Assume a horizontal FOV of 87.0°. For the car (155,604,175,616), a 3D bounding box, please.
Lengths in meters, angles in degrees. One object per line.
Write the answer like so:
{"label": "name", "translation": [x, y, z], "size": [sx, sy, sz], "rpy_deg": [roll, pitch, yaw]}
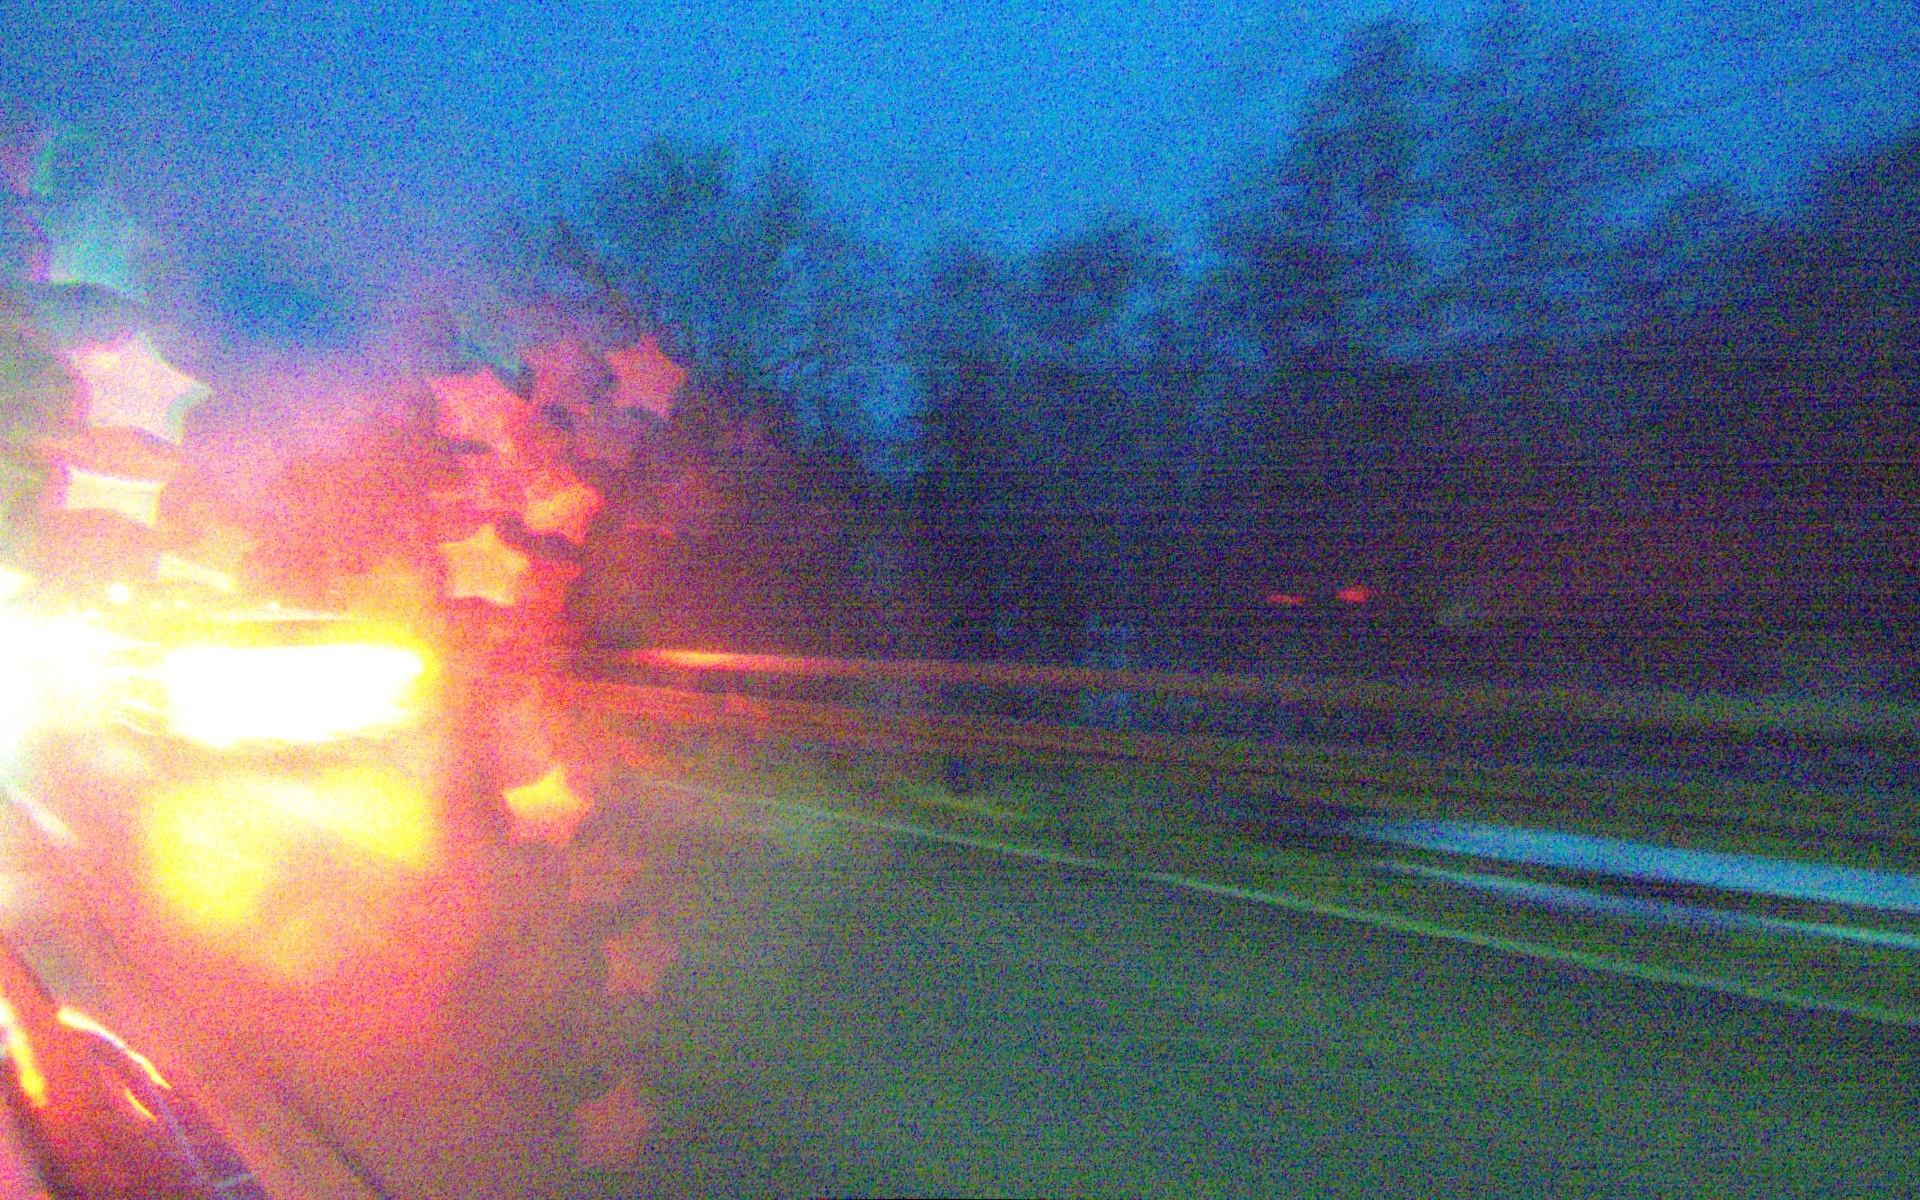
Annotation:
{"label": "car", "translation": [-127.454, 1.566, 162.272], "size": [1.966, 1.763, 4.271], "rpy_deg": [0, 0, -30]}

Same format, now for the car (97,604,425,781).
{"label": "car", "translation": [-7.449, 0.819, 10.666], "size": [3.834, 1.483, 1.973], "rpy_deg": [-1, 0, 41]}

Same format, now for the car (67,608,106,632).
{"label": "car", "translation": [-74.497, 1.679, 86.360], "size": [1.966, 1.940, 4.012], "rpy_deg": [0, 0, -32]}
